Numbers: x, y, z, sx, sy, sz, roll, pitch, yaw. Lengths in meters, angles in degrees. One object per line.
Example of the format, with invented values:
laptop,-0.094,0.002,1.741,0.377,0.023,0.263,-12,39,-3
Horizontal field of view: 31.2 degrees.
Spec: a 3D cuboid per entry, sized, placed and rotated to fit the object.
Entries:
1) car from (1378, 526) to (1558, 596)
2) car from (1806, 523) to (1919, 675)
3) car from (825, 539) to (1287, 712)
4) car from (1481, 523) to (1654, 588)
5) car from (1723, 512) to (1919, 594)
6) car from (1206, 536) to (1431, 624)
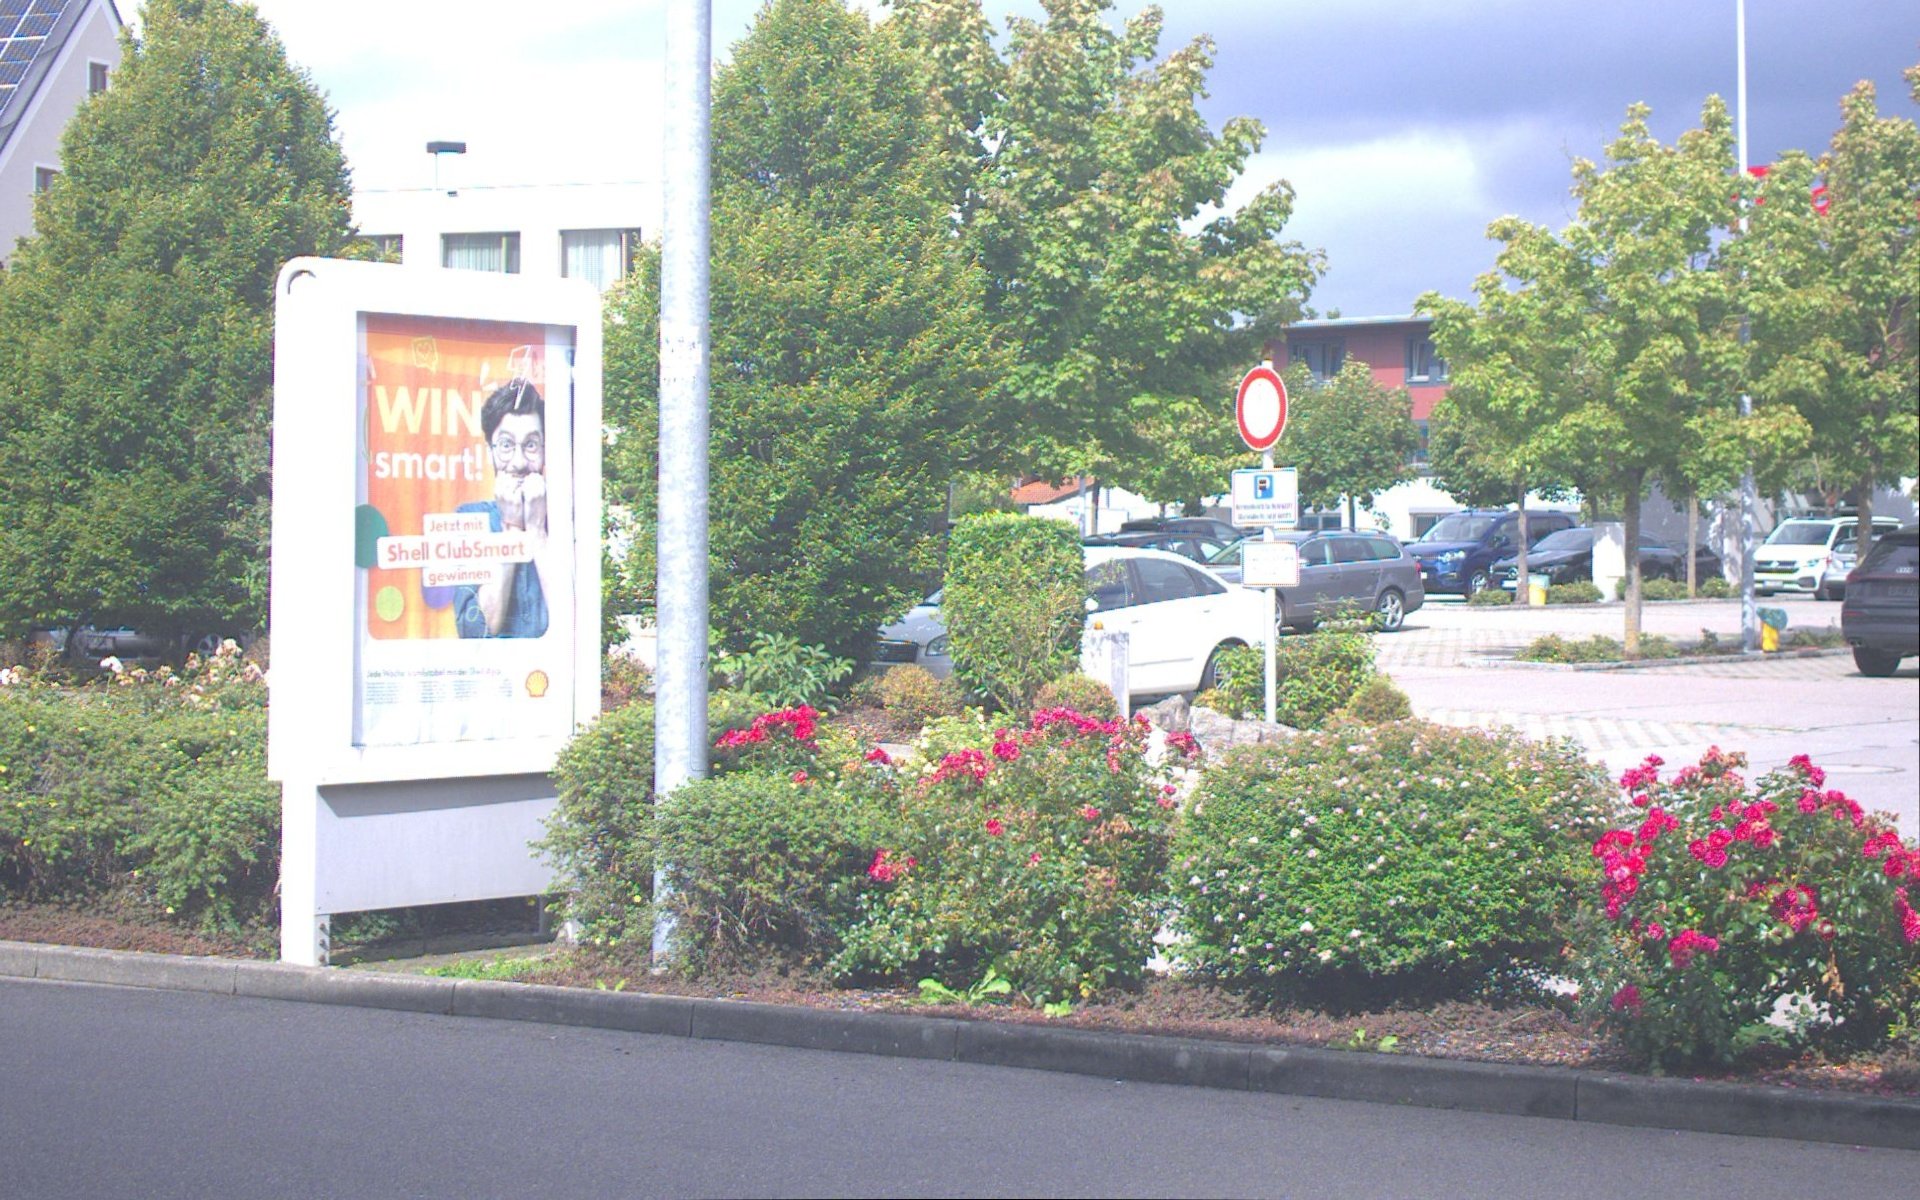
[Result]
car,9.881,-0.757,66.778,3.379,1.316,1.747,0,1,-44
car,11.130,-0.008,36.724,4.491,1.543,1.885,0,1,-43
car,0.902,0.207,29.920,4.332,1.399,1.370,0,1,-44
car,11.510,-0.839,65.030,3.409,1.174,1.485,0,1,-44
car,20.241,-1.089,80.637,4.864,1.827,2.184,0,1,-43
car,5.198,-0.287,49.710,3.218,1.224,1.505,0,1,-44
